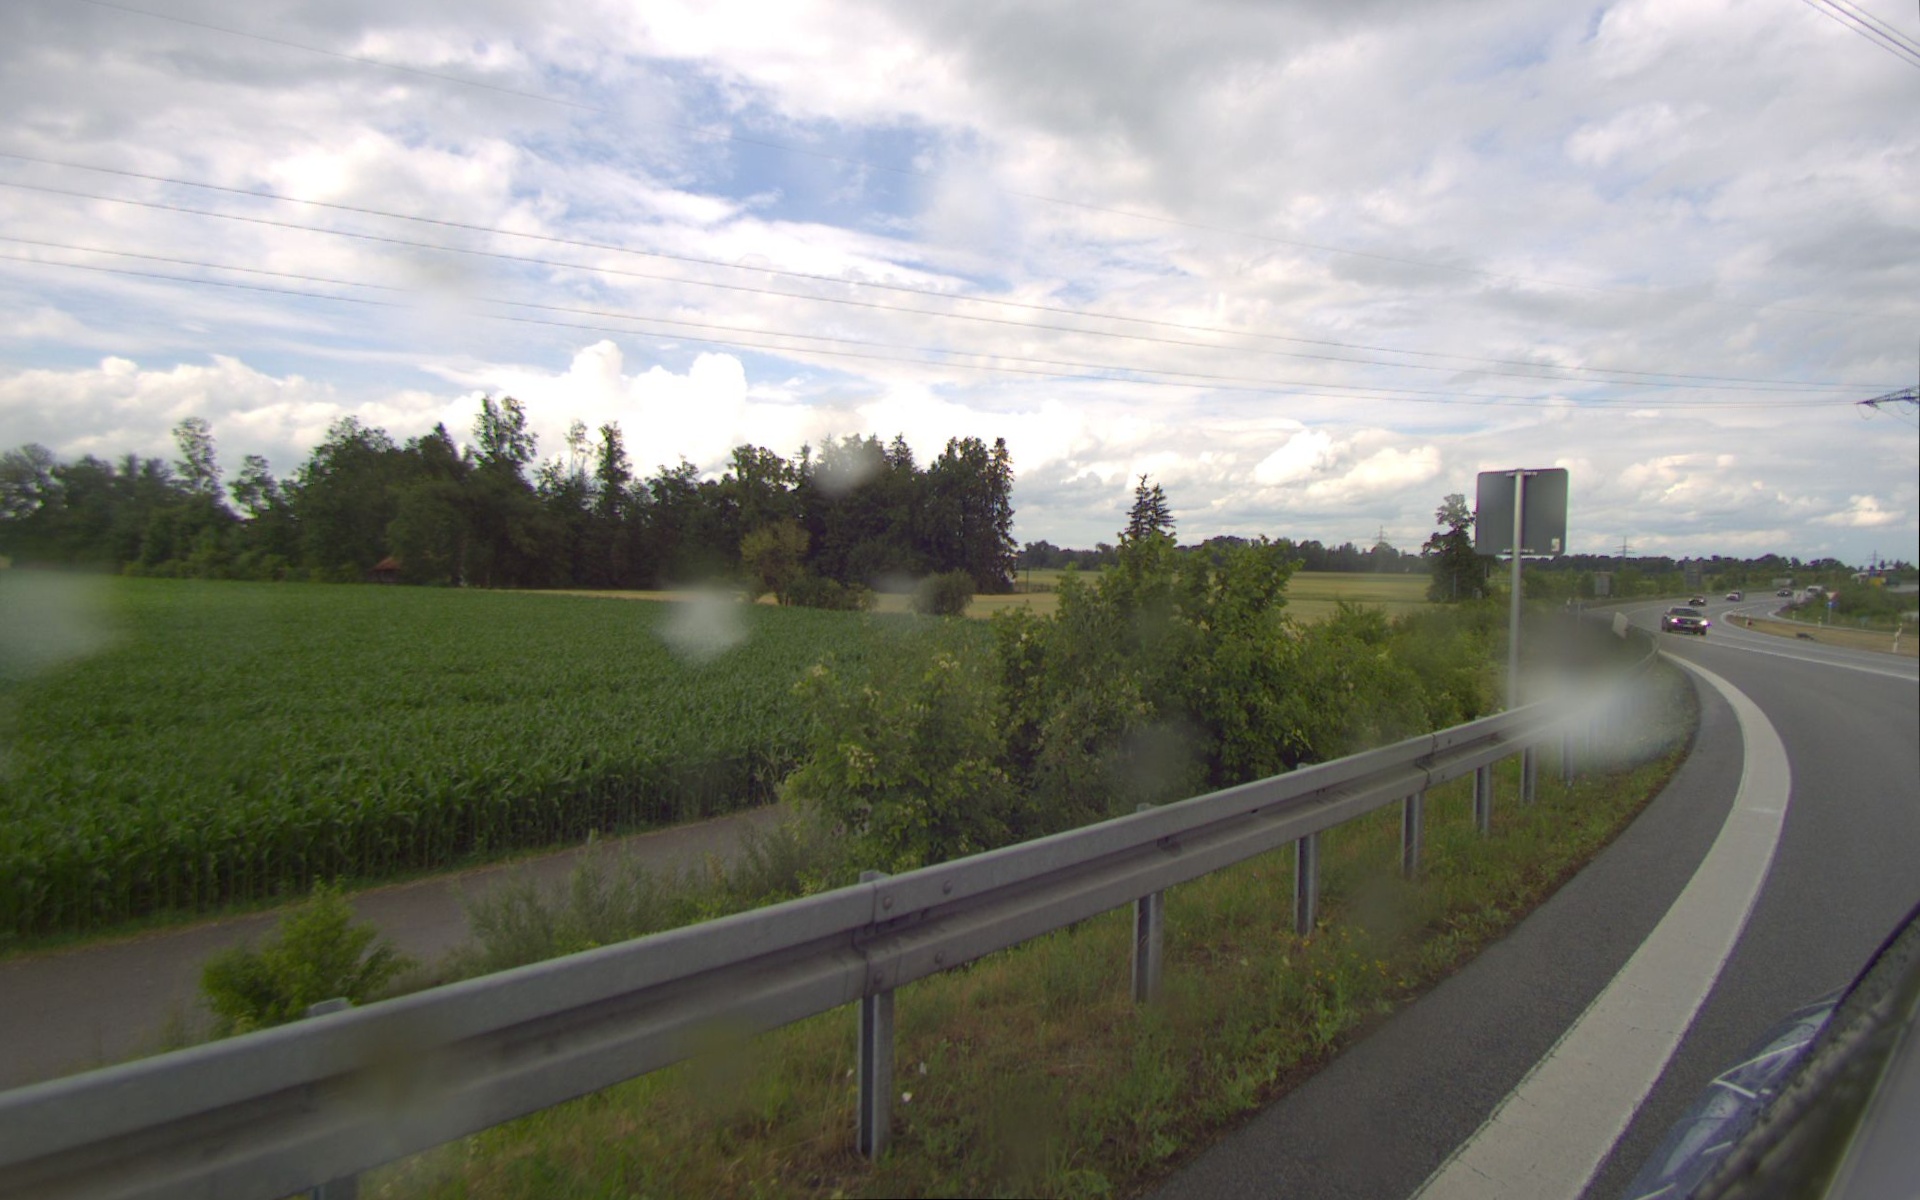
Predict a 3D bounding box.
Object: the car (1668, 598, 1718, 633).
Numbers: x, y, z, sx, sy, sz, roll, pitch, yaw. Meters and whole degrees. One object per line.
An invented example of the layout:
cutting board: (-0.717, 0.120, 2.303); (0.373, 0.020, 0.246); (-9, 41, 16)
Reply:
car: (40.528, 0.822, 56.058); (1.986, 1.774, 3.953); (1, 1, 33)
